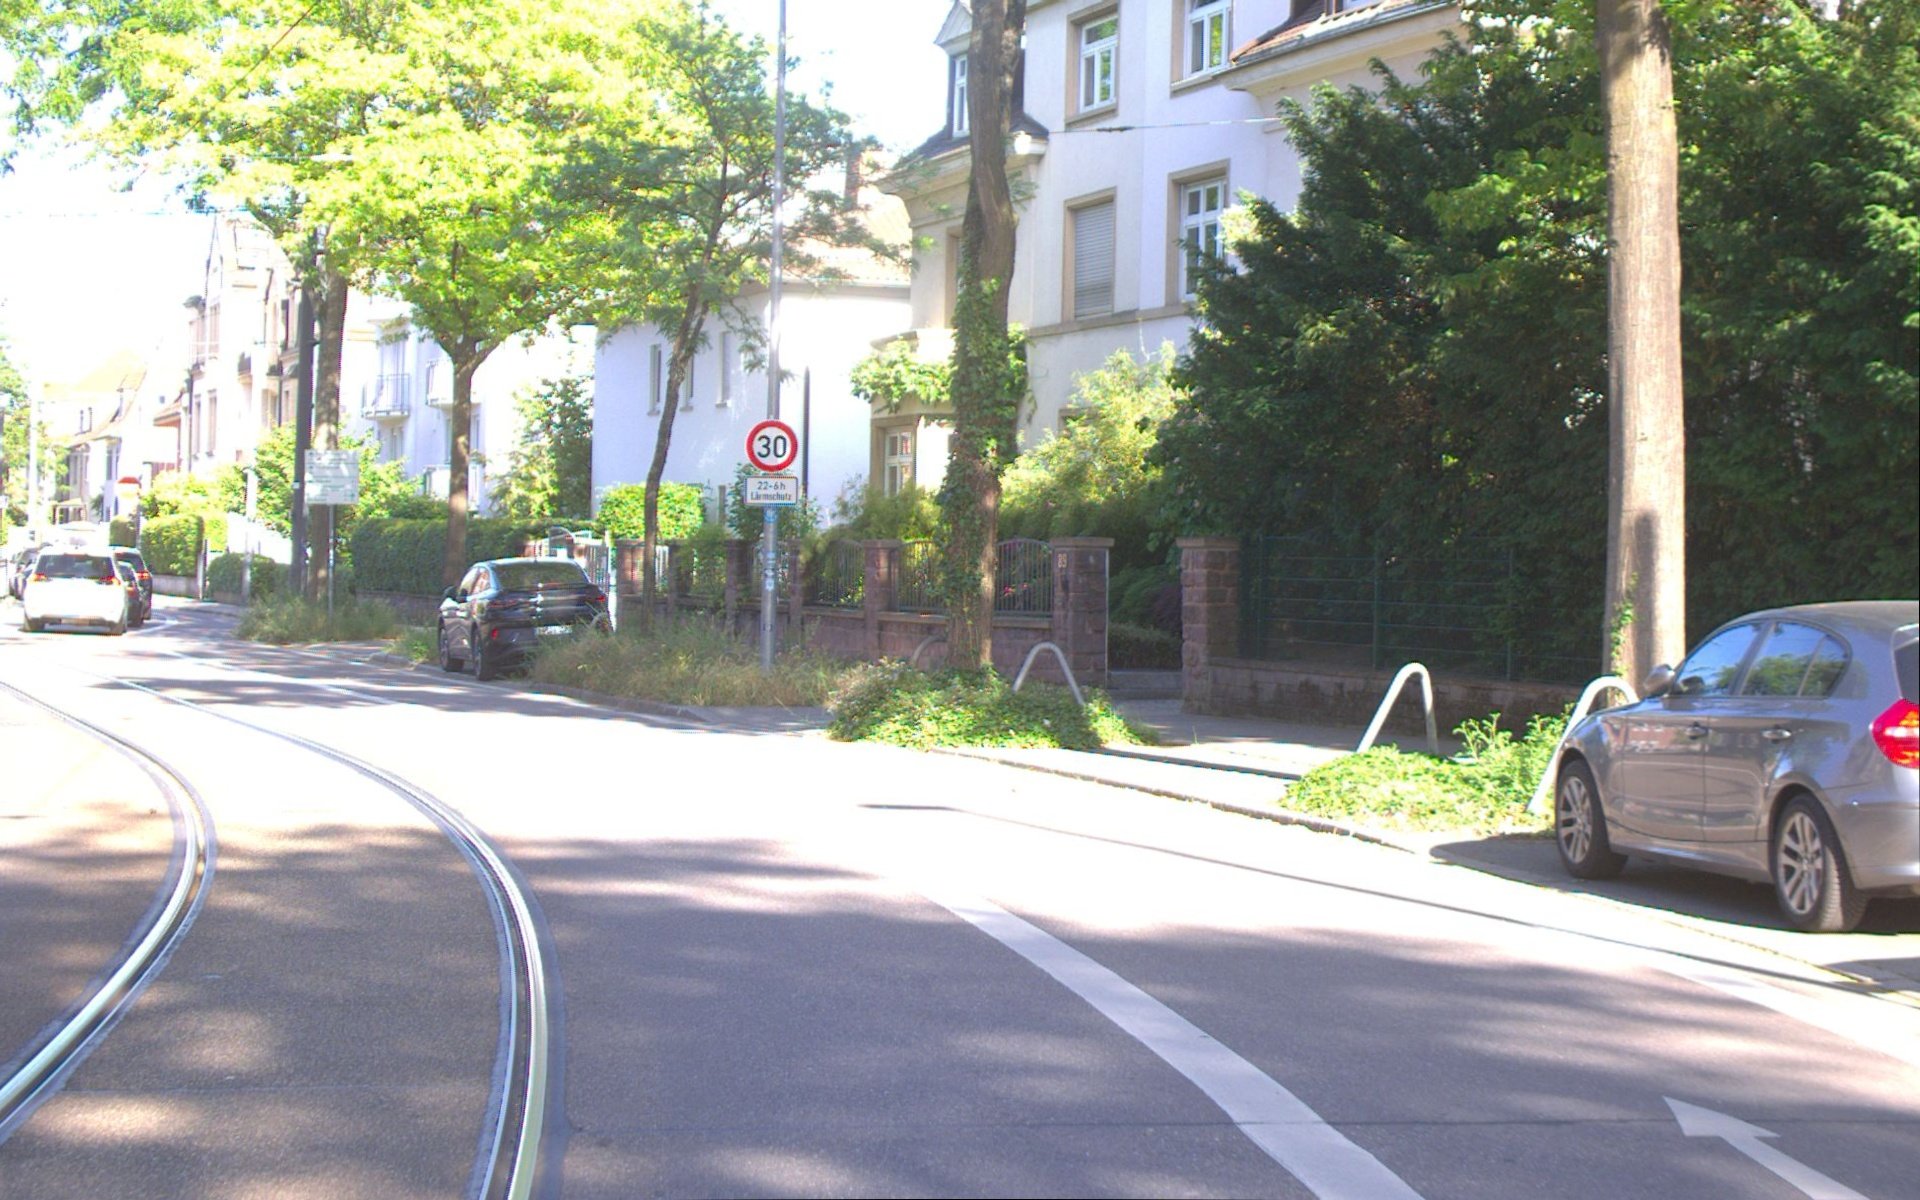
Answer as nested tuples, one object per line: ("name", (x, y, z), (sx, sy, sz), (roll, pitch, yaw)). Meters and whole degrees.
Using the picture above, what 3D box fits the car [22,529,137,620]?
("car", (-16.835, -0.460, 65.876), (1.892, 1.605, 4.230), (1, -1, -11))

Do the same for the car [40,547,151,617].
("car", (-18.589, -0.404, 74.020), (1.993, 1.437, 4.001), (1, 1, -10))

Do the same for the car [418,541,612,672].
("car", (-6.337, 0.040, 48.514), (1.804, 1.688, 4.730), (-3, 2, -18))

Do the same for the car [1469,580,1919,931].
("car", (4.201, 0.626, 16.231), (1.993, 1.418, 4.334), (1, 0, -15))
